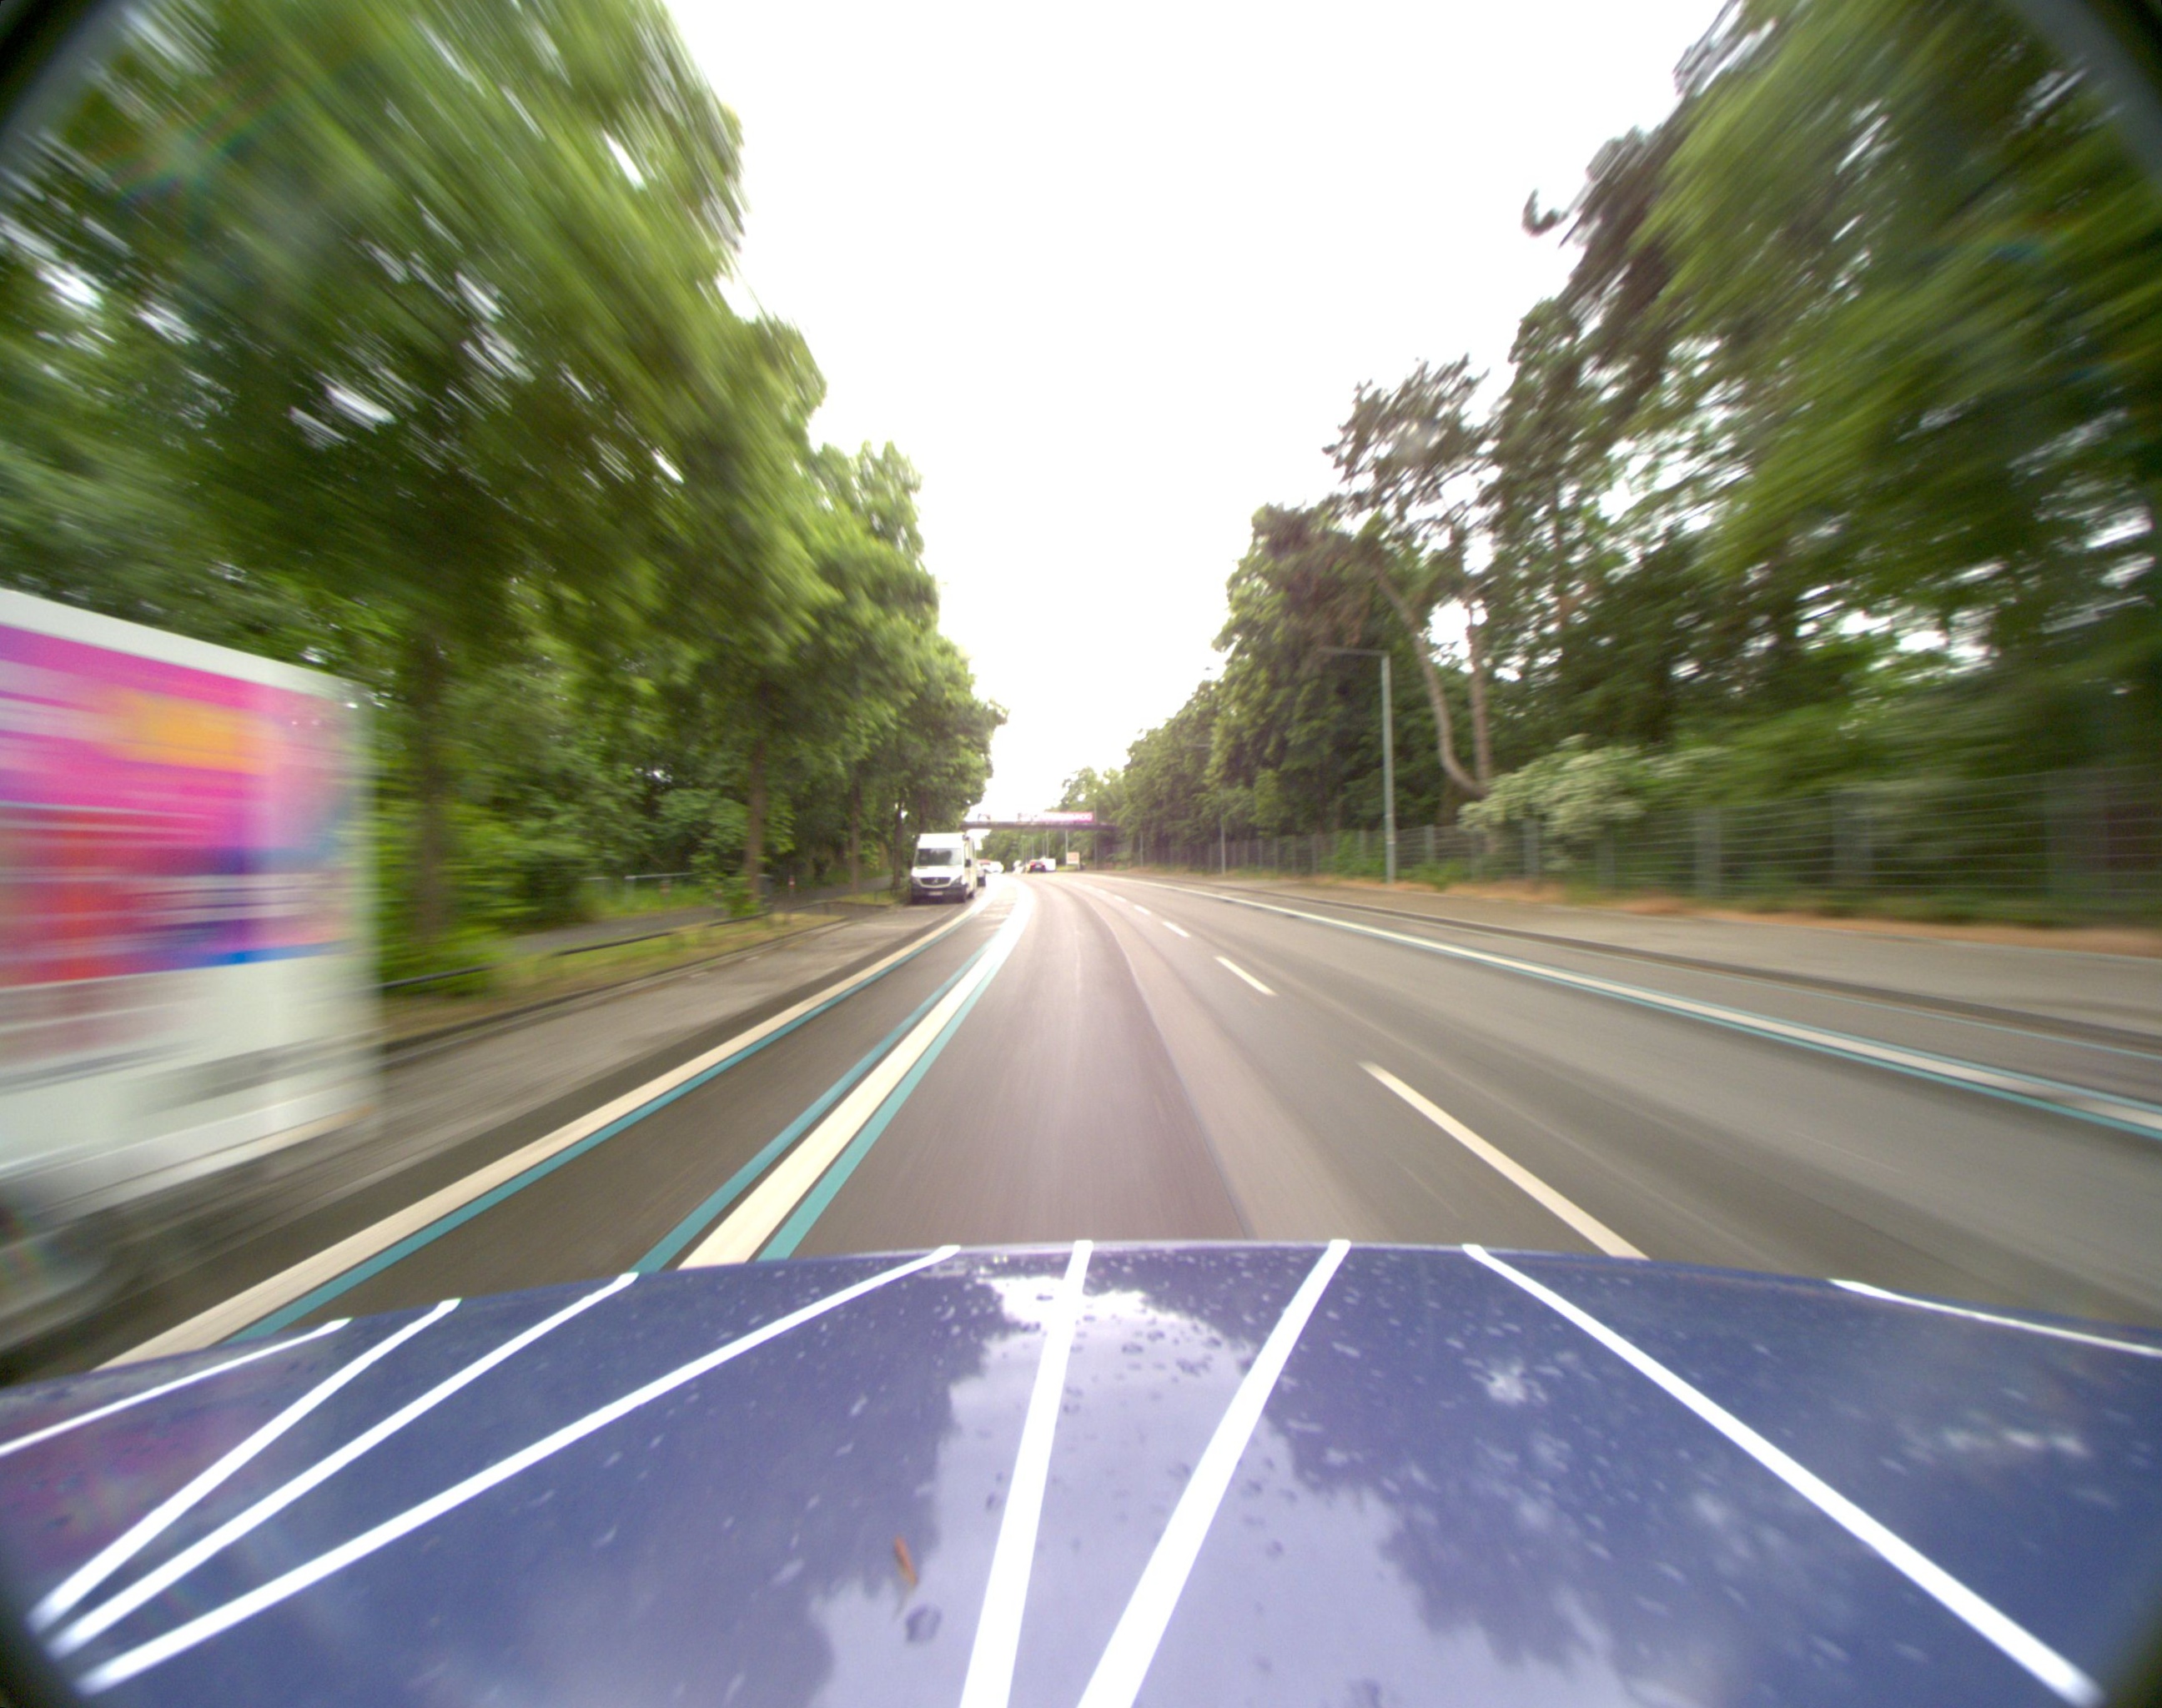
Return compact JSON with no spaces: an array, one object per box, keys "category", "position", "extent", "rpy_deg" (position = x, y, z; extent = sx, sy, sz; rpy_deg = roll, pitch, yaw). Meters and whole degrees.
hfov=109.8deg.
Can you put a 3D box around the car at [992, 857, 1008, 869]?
[{"category":"car","position":[-11.217,1.283,104.942],"extent":[1.829,1.453,3.879],"rpy_deg":[-2,-1,-10]}]

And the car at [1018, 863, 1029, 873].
[{"category":"car","position":[-11.837,2.815,156.406],"extent":[1.879,1.965,4.732],"rpy_deg":[0,-2,-11]}]

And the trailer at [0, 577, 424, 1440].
[{"category":"trailer","position":[-4.512,0.505,1.092],"extent":[2.322,2.656,5.376],"rpy_deg":[-2,0,0]}]

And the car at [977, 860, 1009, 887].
[{"category":"car","position":[-5.113,1.082,43.788],"extent":[1.684,1.368,3.996],"rpy_deg":[-1,1,-9]}]

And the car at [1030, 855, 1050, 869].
[{"category":"car","position":[-4.610,0.867,85.509],"extent":[1.766,1.428,4.147],"rpy_deg":[-2,0,-9]}]

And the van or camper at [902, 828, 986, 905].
[{"category":"van or camper","position":[-5.257,0.431,30.124],"extent":[2.323,2.649,6.380],"rpy_deg":[-2,0,-2]}]

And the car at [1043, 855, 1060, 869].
[{"category":"car","position":[-4.290,1.223,110.548],"extent":[1.985,1.902,5.225],"rpy_deg":[-1,-2,-7]}]
